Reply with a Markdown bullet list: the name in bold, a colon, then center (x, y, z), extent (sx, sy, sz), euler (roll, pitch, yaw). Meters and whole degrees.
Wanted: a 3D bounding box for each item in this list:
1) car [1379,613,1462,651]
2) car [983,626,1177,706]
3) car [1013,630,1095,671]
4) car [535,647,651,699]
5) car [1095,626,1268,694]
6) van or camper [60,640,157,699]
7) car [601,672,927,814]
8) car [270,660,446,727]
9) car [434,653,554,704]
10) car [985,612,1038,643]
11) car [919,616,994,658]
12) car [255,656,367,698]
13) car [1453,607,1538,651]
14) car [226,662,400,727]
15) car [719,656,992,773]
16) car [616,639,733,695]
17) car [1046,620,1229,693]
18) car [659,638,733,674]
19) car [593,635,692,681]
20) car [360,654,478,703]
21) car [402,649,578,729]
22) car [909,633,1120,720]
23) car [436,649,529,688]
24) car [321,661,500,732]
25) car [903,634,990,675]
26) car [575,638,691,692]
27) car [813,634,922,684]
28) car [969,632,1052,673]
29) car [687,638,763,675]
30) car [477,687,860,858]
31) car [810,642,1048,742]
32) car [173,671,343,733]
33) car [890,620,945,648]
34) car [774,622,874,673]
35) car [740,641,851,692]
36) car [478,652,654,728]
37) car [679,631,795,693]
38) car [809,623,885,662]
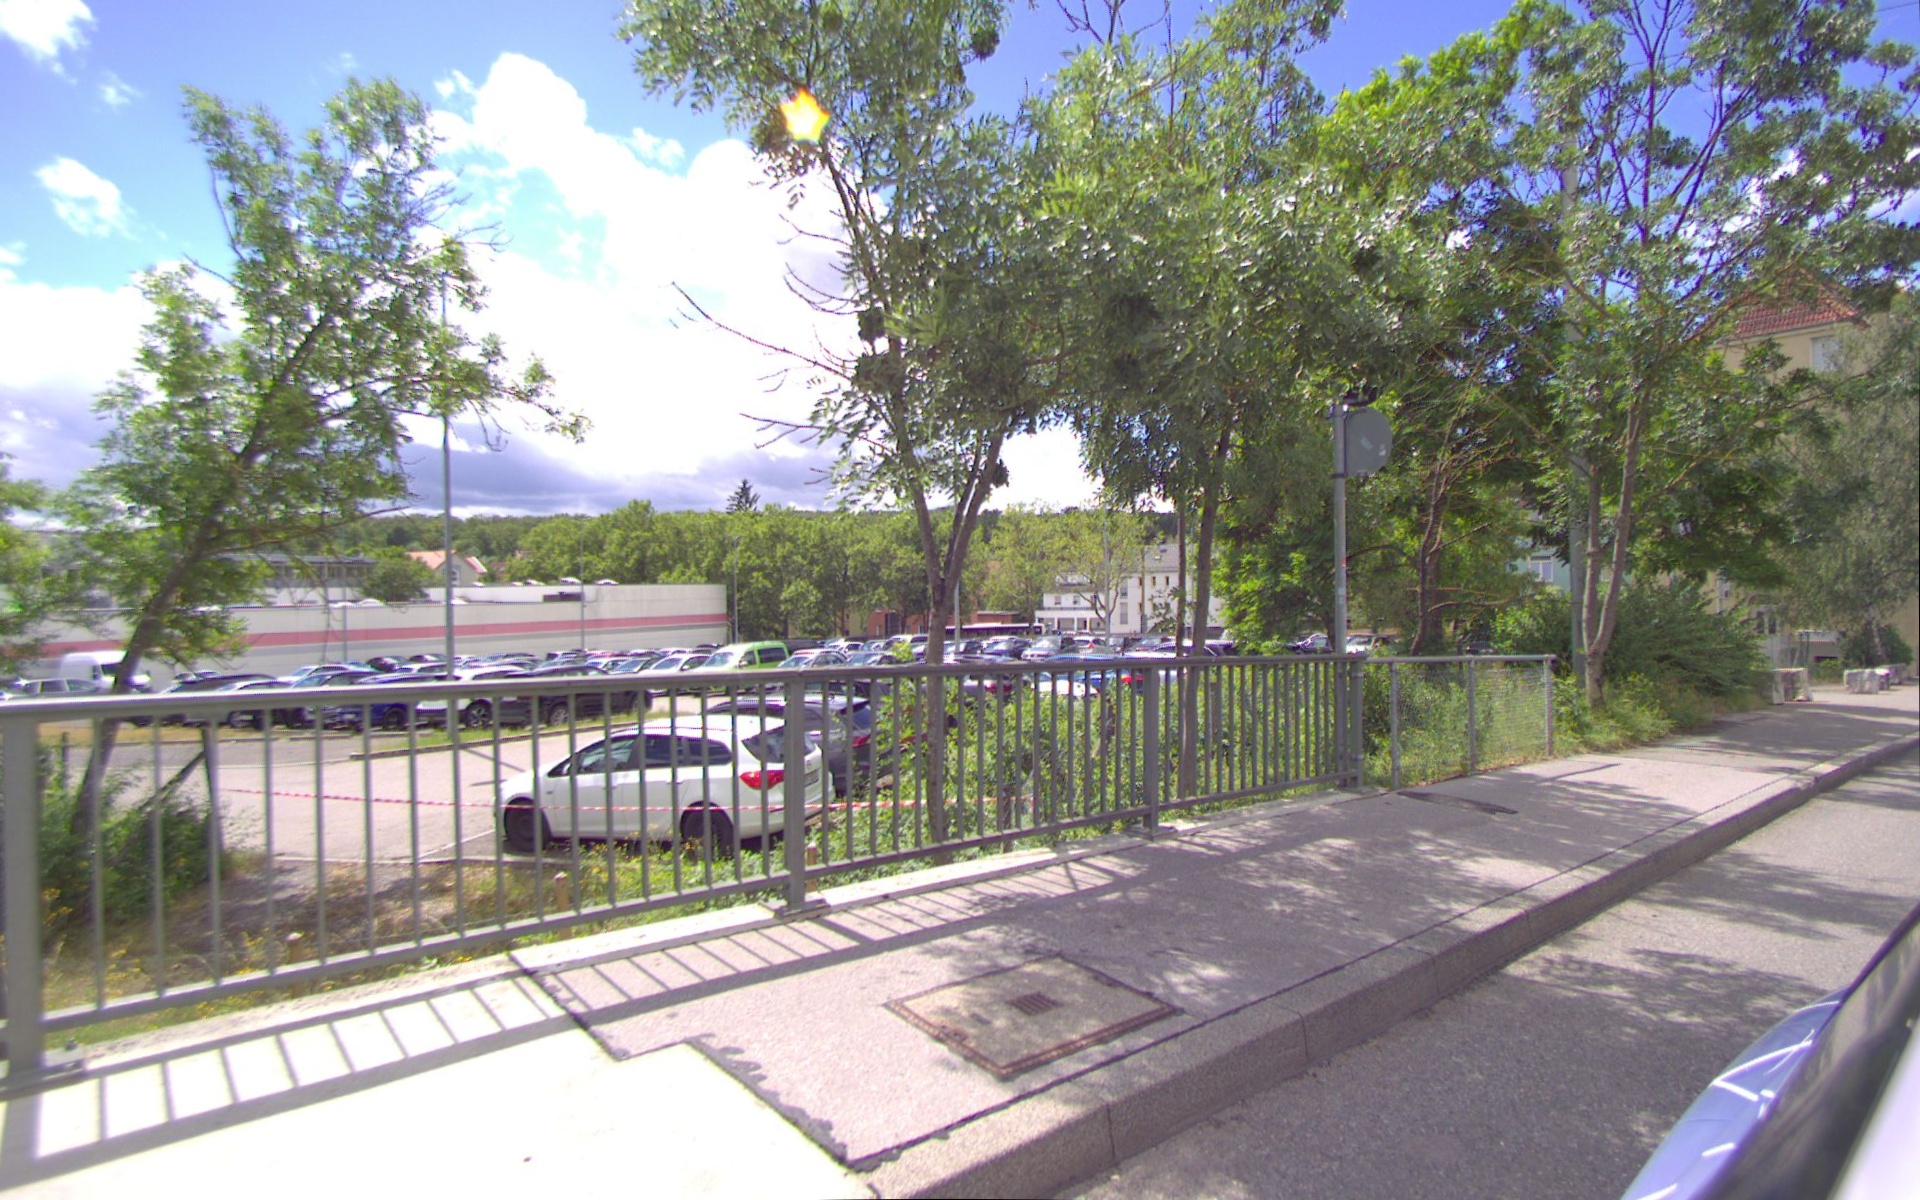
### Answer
- **car**: center (19.752, 1.324, 43.355), extent (1.870, 1.468, 4.212), euler (-2, -1, 45)
- **car**: center (2.842, 1.542, 24.502), extent (4.326, 1.690, 1.846), euler (-2, 0, 38)
- **car**: center (4.553, 2.367, 48.493), extent (1.862, 1.690, 4.290), euler (-2, 0, 39)
- **car**: center (-14.928, 2.922, 41.394), extent (1.890, 1.725, 4.522), euler (0, 1, 24)
- **car**: center (6.141, 1.626, 28.280), extent (4.326, 1.690, 1.846), euler (-2, 0, 38)
- **van or camper**: center (-44.026, 3.597, 52.300), extent (5.249, 2.726, 1.911), euler (-5, -2, 27)
- **car**: center (-2.830, 1.994, 14.754), extent (4.293, 1.691, 1.861), euler (-2, 0, 19)
- **car**: center (-17.535, 2.673, 29.692), extent (1.890, 1.482, 4.162), euler (0, 1, 24)
- **car**: center (-19.700, 3.259, 42.993), extent (1.890, 1.725, 4.522), euler (0, 1, 24)
- **car**: center (3.594, 1.883, 69.618), extent (1.980, 1.808, 4.404), euler (-5, -1, 26)
- **car**: center (-0.122, 1.855, 51.251), extent (1.980, 1.808, 4.404), euler (-5, -1, 26)
- **car**: center (-33.062, 3.874, 51.701), extent (1.890, 1.725, 4.522), euler (0, 1, 24)
- **car**: center (21.688, 1.136, 40.939), extent (1.870, 1.644, 4.212), euler (-2, -1, 45)
- **car**: center (-19.612, 2.799, 30.863), extent (1.890, 1.482, 4.162), euler (0, 1, 24)
- **car**: center (-1.791, 1.901, 17.442), extent (4.297, 1.691, 1.859), euler (-2, 0, 21)
- **car**: center (-10.819, 2.504, 38.657), extent (1.890, 1.725, 4.522), euler (0, 1, 24)
- **car**: center (4.587, 1.421, 26.473), extent (4.326, 1.690, 1.846), euler (-2, 0, 38)
- **car**: center (-16.235, 3.416, 62.428), extent (1.980, 1.808, 4.404), euler (-5, -1, 26)
- **car**: center (-15.099, 2.750, 48.366), extent (1.980, 1.808, 4.404), euler (-5, -1, 26)
- **car**: center (-24.159, 3.463, 45.384), extent (1.890, 1.725, 4.522), euler (0, 1, 24)
- **car**: center (-12.657, 2.322, 27.520), extent (1.890, 1.690, 4.162), euler (0, 1, 24)
- **car**: center (1.172, 1.636, 22.491), extent (4.314, 1.690, 1.852), euler (-2, 0, 31)
- **car**: center (-25.975, 3.665, 55.229), extent (1.890, 1.725, 4.522), euler (0, 1, 24)
- **car**: center (-15.282, 2.622, 28.410), extent (1.890, 1.482, 4.162), euler (0, 1, 24)
- **car**: center (-0.472, 2.097, 39.341), extent (1.490, 1.278, 3.958), euler (-5, -1, 30)
- **car**: center (-12.865, 2.507, 40.111), extent (1.890, 1.725, 4.522), euler (0, 1, 24)
- **car**: center (-3.142, 2.016, 35.116), extent (1.706, 1.408, 3.958), euler (-5, -1, 30)
- **car**: center (2.490, 2.537, 49.409), extent (1.862, 1.690, 4.290), euler (-2, 0, 39)
- **car**: center (-13.964, 3.356, 60.316), extent (1.980, 1.808, 4.404), euler (-5, -1, 26)
- **car**: center (-3.601, 2.020, 12.611), extent (4.293, 1.691, 1.861), euler (-2, 0, 19)
- **car**: center (-0.619, 1.755, 19.930), extent (4.304, 1.691, 1.856), euler (-2, 0, 25)
- **car**: center (-22.496, 3.210, 32.608), extent (1.890, 1.482, 4.162), euler (0, 1, 24)
- **car**: center (-2.474, 1.985, 59.691), extent (1.851, 1.467, 3.689), euler (-2, 0, 23)
- **car**: center (-5.669, 1.973, 42.711), extent (1.980, 1.808, 4.404), euler (-5, -1, 26)
- **car**: center (-5.754, 2.319, 35.838), extent (1.706, 1.408, 3.958), euler (-5, -1, 30)
- **car**: center (-10.083, 2.238, 26.218), extent (1.890, 1.482, 4.162), euler (0, 1, 24)
- **car**: center (-8.185, 2.241, 37.622), extent (1.702, 1.898, 4.609), euler (-5, -1, 24)
- **car**: center (-6.161, 2.287, 55.650), extent (1.980, 1.808, 4.404), euler (-5, -1, 26)
